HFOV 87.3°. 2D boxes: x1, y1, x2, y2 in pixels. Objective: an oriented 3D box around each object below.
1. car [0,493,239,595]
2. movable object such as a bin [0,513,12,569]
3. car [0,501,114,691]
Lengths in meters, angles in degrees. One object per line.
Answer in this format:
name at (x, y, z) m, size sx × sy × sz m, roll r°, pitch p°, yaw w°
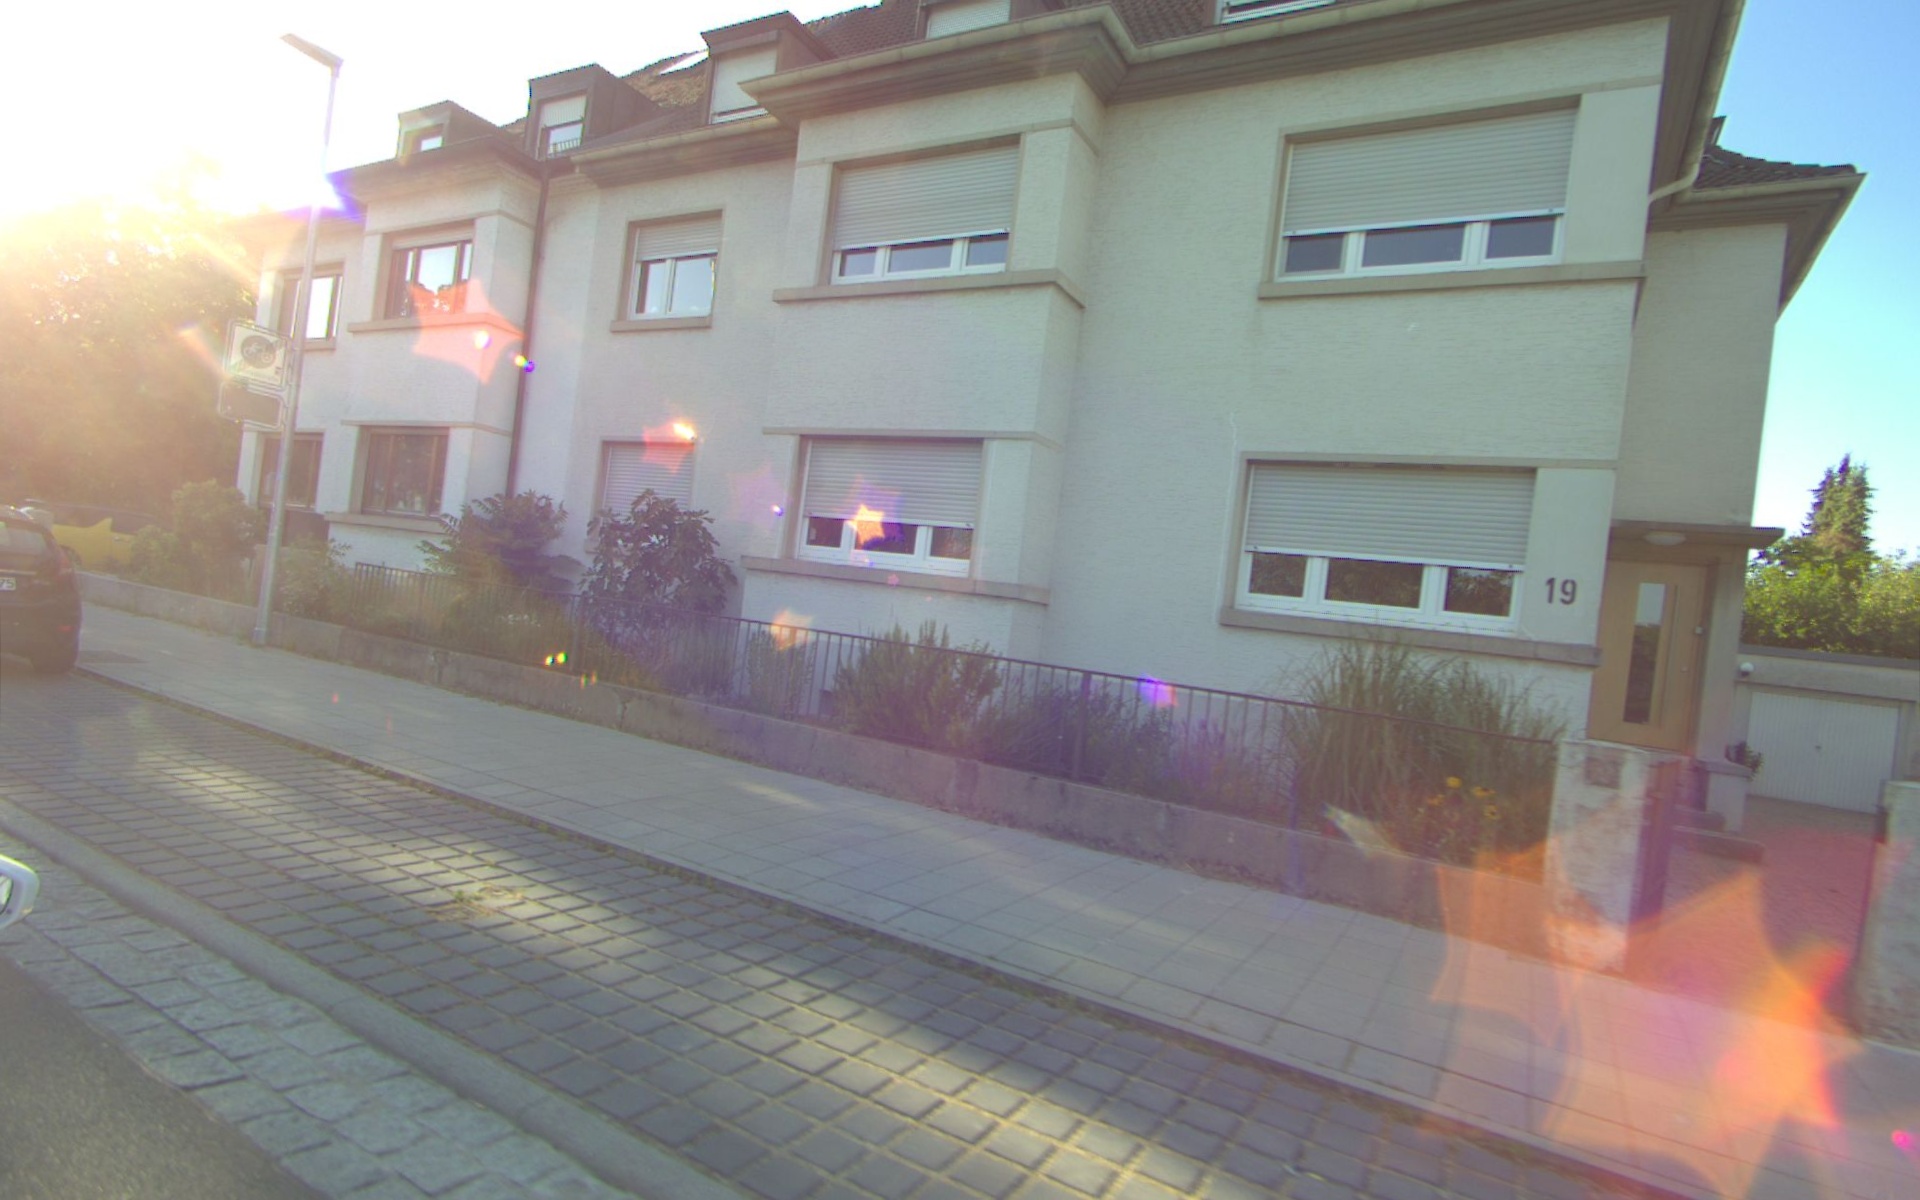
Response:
car at (-16.247, -1.047, 19.150) m, size 1.751 × 1.515 × 3.638 m, roll 7°, pitch 1°, yaw 30°
movable object such as a bin at (-18.649, -1.161, 19.267) m, size 0.409 × 1.055 × 0.509 m, roll 7°, pitch 0°, yaw 25°
car at (-9.527, -0.215, 8.992) m, size 3.916 × 1.491 × 1.720 m, roll 7°, pitch 2°, yaw 30°
